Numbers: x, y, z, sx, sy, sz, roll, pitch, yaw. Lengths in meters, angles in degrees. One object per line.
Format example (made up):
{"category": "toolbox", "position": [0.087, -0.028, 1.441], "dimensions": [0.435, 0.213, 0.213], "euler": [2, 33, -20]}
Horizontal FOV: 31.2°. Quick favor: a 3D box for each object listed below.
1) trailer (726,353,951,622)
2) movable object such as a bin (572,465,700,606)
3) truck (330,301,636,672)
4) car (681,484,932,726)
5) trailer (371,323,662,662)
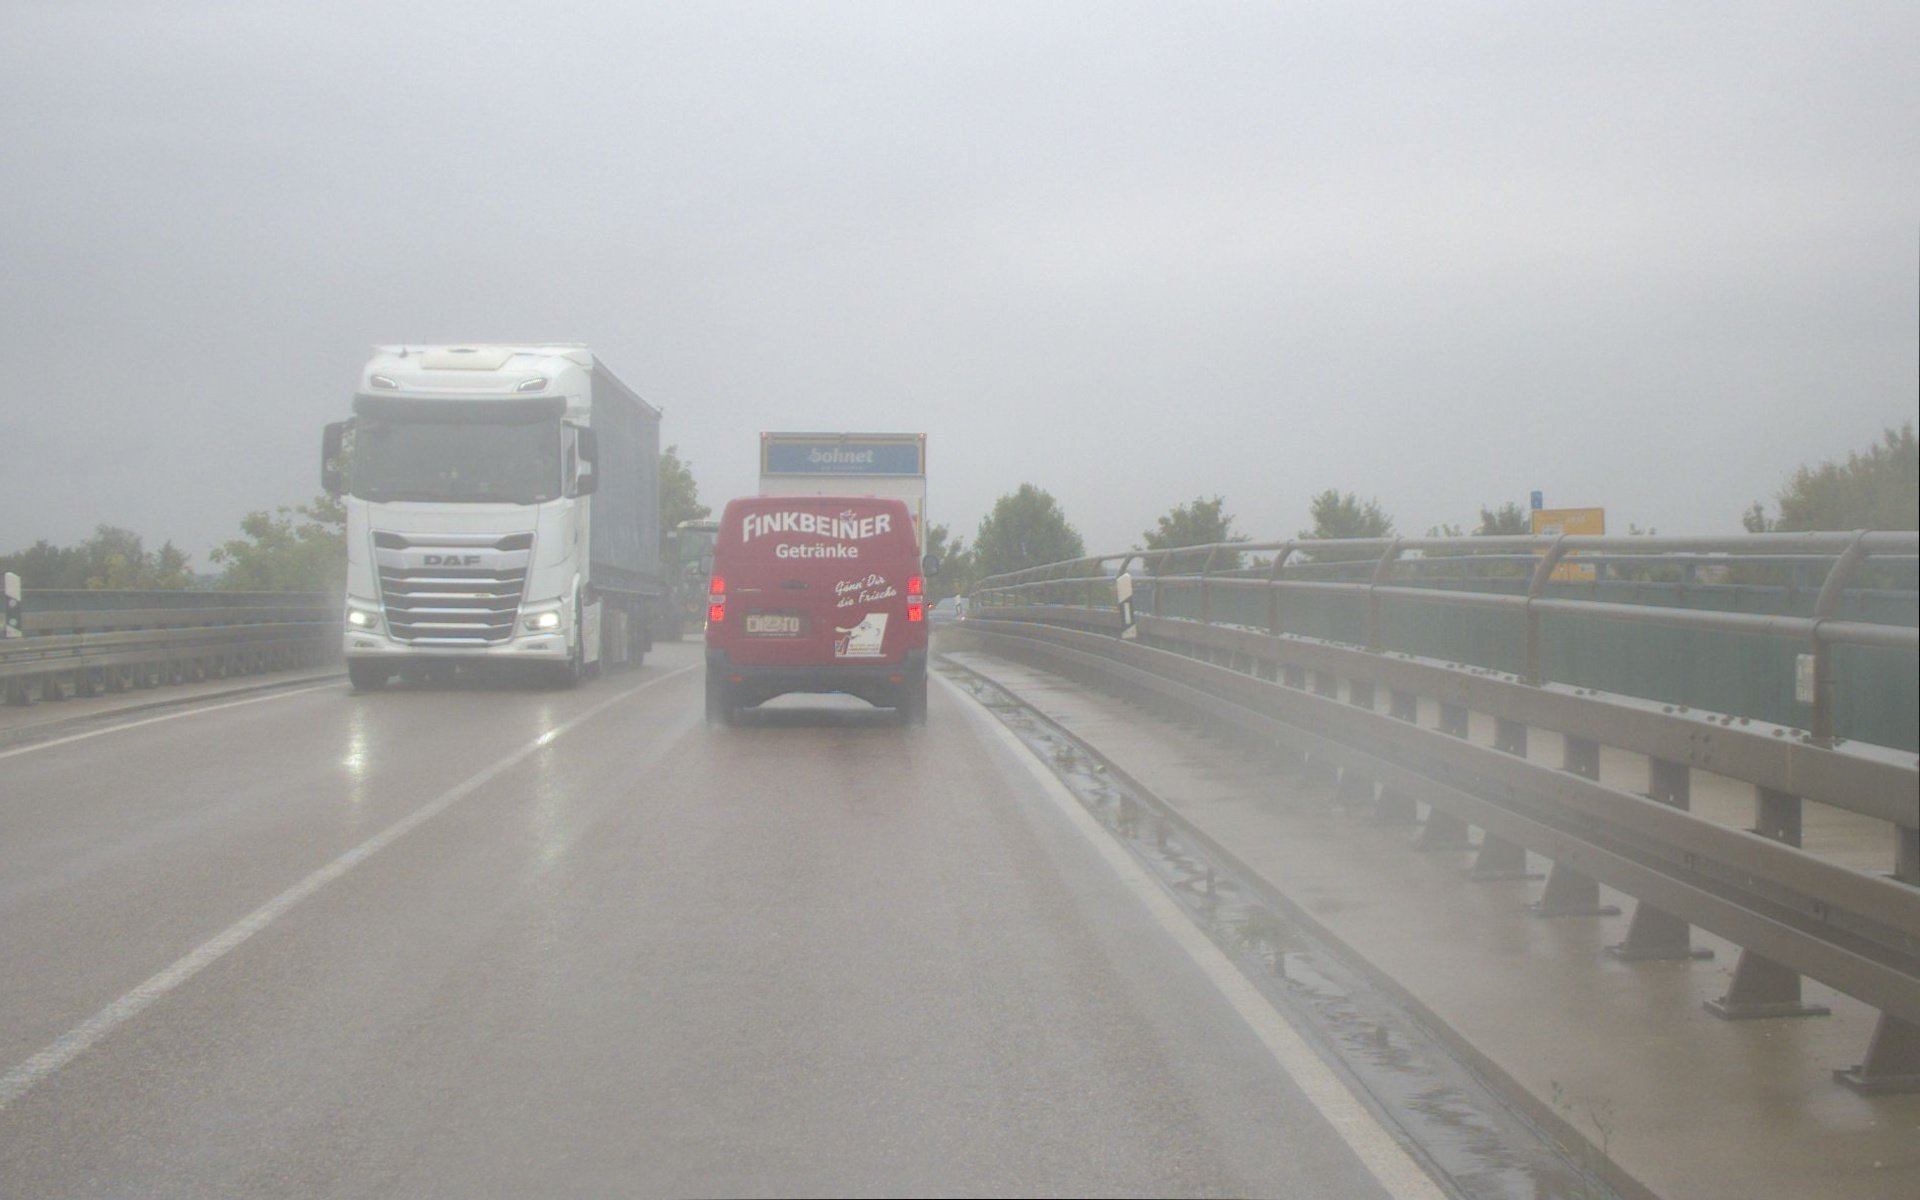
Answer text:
{"category": "trailer", "position": [-1.972, -1.729, 56.140], "dimensions": [3.201, 3.908, 8.740], "euler": [3, 0, -2]}
{"category": "movable object such as a bin", "position": [-8.124, -1.612, 86.760], "dimensions": [2.748, 3.433, 4.643], "euler": [0, 1, 0]}
{"category": "truck", "position": [-5.509, -1.282, 41.120], "dimensions": [2.817, 3.956, 8.765], "euler": [0, 1, -3]}
{"category": "car", "position": [-1.330, -0.015, 29.744], "dimensions": [1.993, 1.919, 4.144], "euler": [1, 2, -3]}
{"category": "trailer", "position": [-5.775, -1.364, 47.043], "dimensions": [2.817, 3.956, 13.738], "euler": [0, 1, -3]}
